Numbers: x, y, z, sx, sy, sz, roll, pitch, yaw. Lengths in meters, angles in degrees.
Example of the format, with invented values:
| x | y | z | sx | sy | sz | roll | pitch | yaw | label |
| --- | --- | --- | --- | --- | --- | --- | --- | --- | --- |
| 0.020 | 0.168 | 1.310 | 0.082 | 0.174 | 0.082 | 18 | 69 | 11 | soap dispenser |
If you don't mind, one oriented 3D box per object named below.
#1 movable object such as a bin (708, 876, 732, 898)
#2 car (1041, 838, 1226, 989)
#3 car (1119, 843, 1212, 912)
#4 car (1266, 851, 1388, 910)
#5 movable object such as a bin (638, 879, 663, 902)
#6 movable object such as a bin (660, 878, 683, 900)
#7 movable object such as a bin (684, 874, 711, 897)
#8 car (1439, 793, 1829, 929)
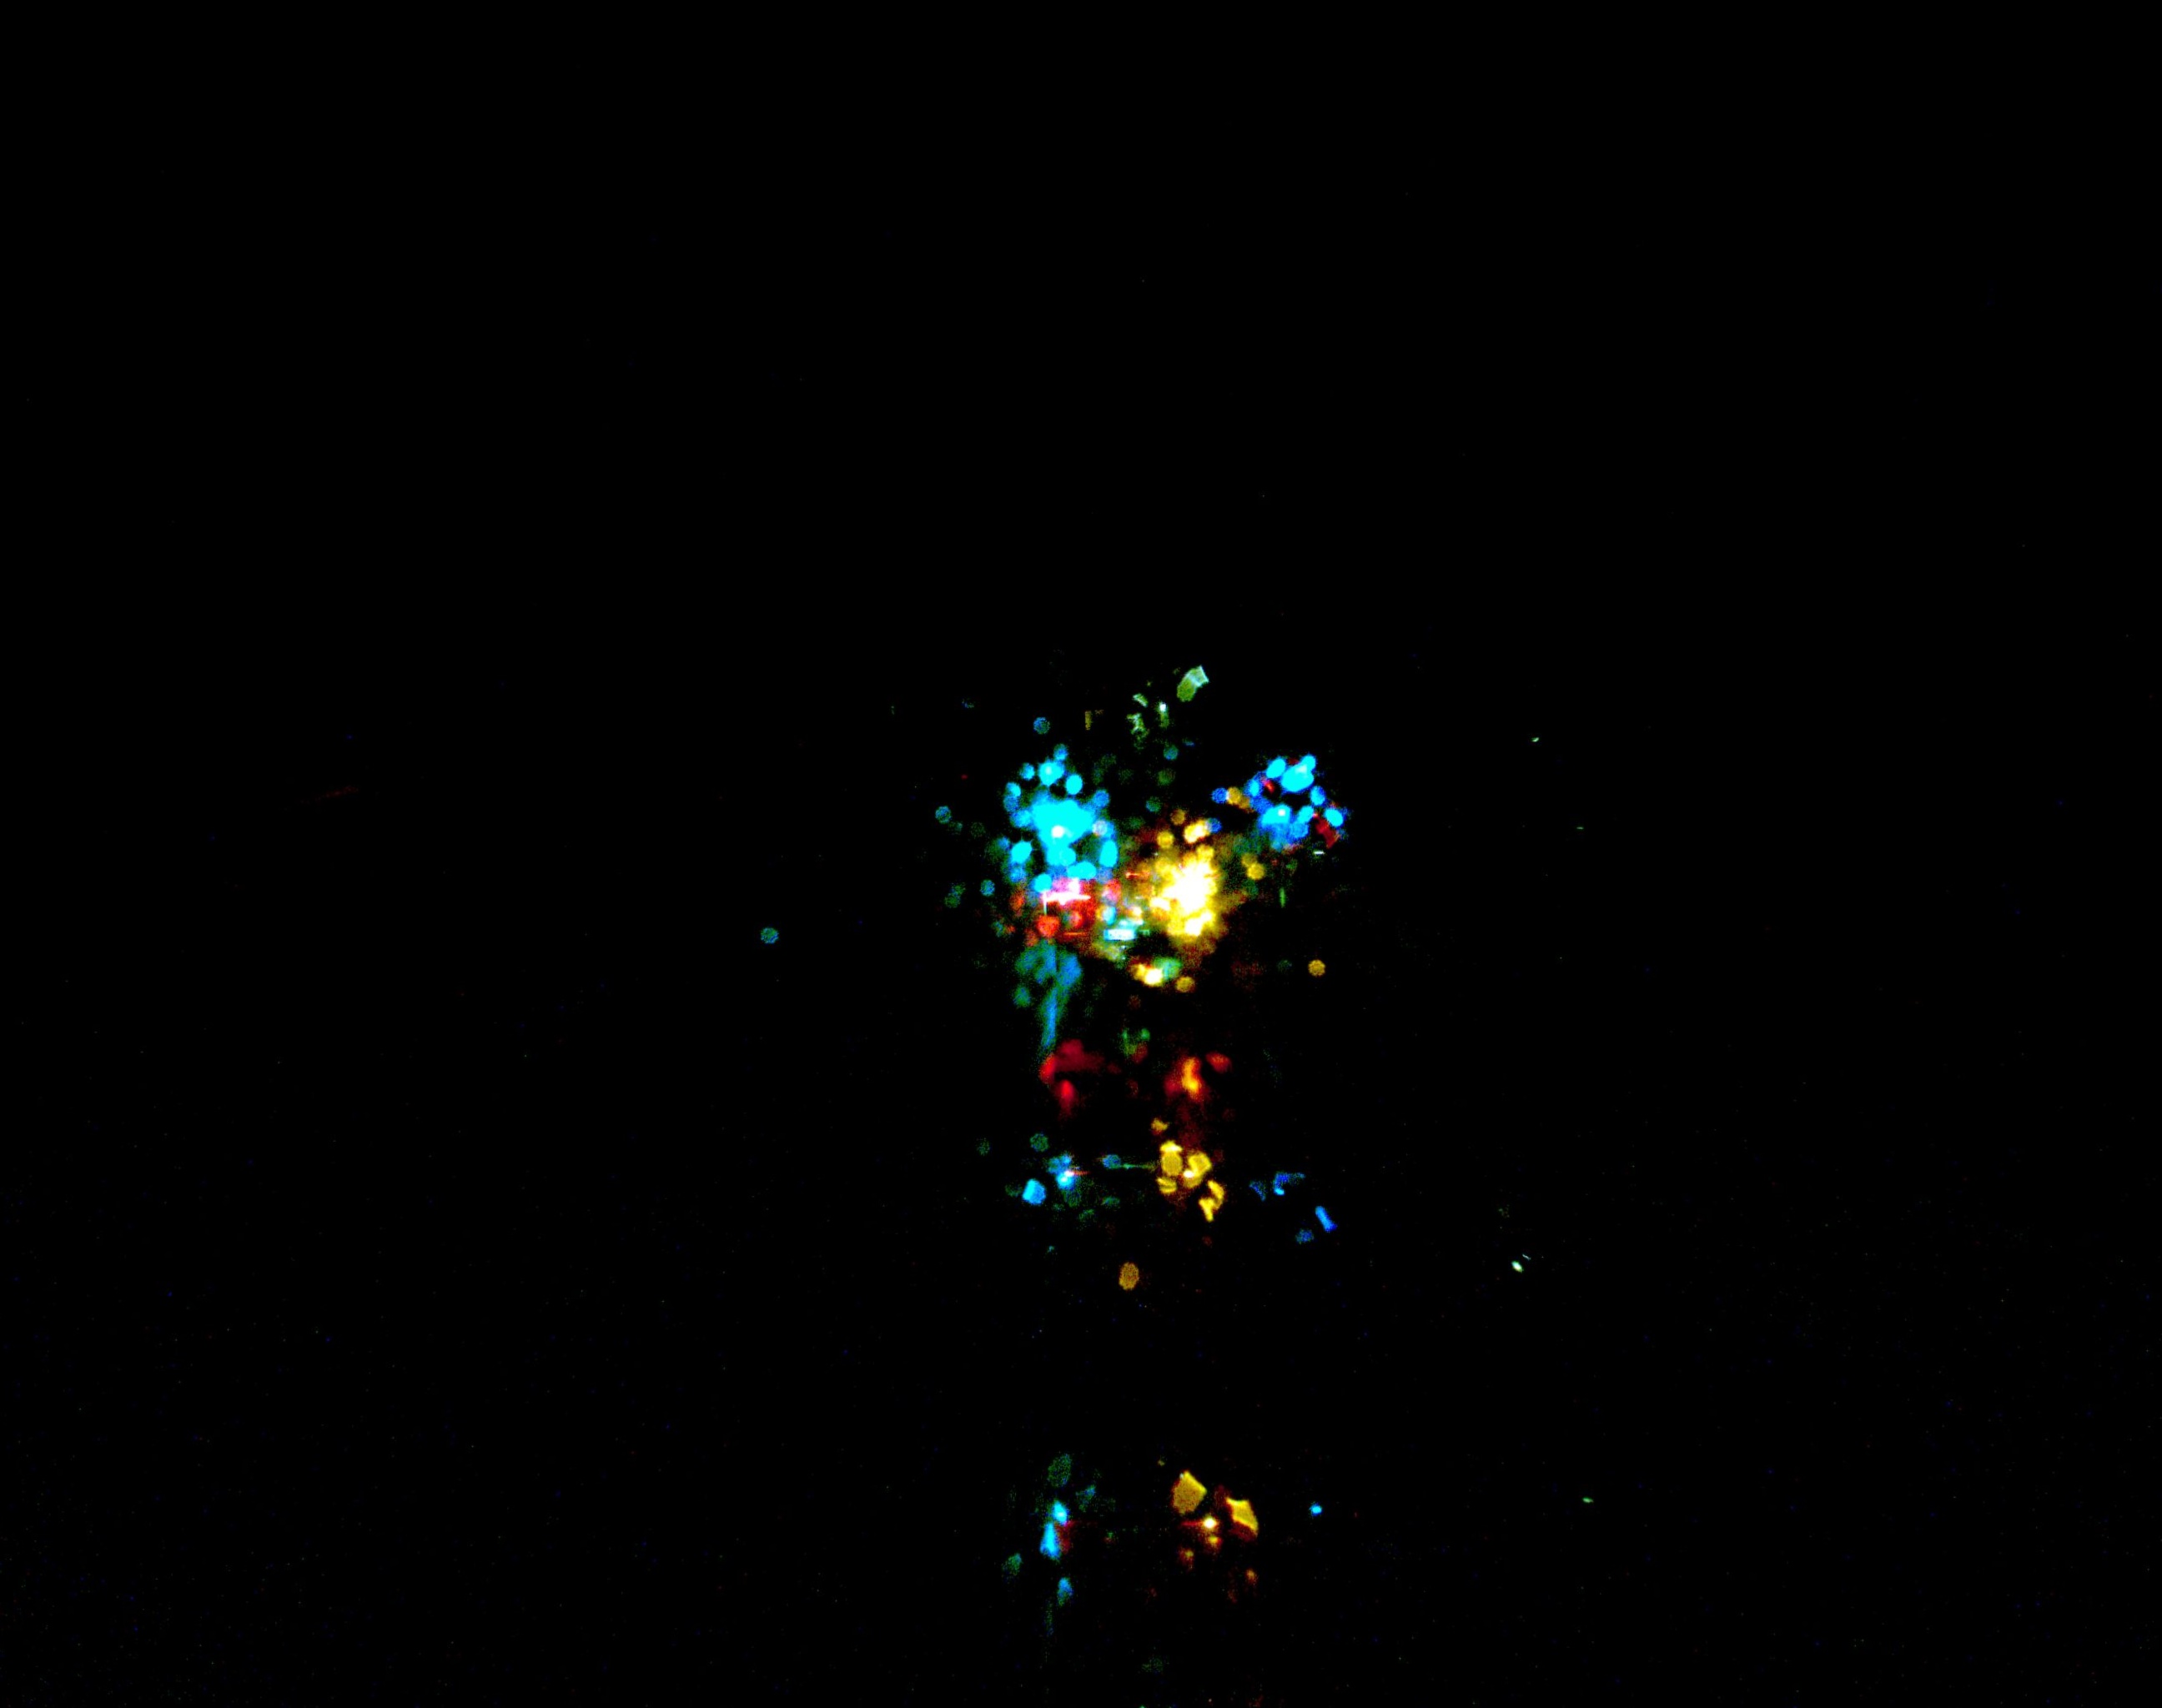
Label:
| x | y | z | sx | sy | sz | roll | pitch | yaw | label |
| --- | --- | --- | --- | --- | --- | --- | --- | --- | --- |
| -23.371 | 2.137 | 52.775 | 1.318 | 1.298 | 1.243 | 0 | 1 | -19 | movable object such as a bin |
| 0.626 | 0.671 | 11.119 | 2.050 | 1.678 | 4.140 | 0 | 0 | 1 | car |
| 2.297 | 0.565 | 21.002 | 1.897 | 1.510 | 4.254 | 3 | 0 | 12 | car |
| 9.008 | 0.946 | 29.741 | 4.267 | 1.947 | 1.760 | 1 | 2 | -30 | car |
| -27.318 | 2.316 | 51.697 | 1.325 | 1.309 | 1.166 | -3 | 1 | -26 | movable object such as a bin |
| -26.068 | 2.226 | 51.852 | 1.234 | 1.325 | 1.144 | -2 | 0 | -24 | movable object such as a bin |
| -24.627 | 2.017 | 52.352 | 1.390 | 1.413 | 1.244 | 1 | 0 | -17 | movable object such as a bin |
| 8.056 | 0.110 | 12.359 | 4.437 | 1.586 | 1.946 | -4 | 0 | 12 | car |
